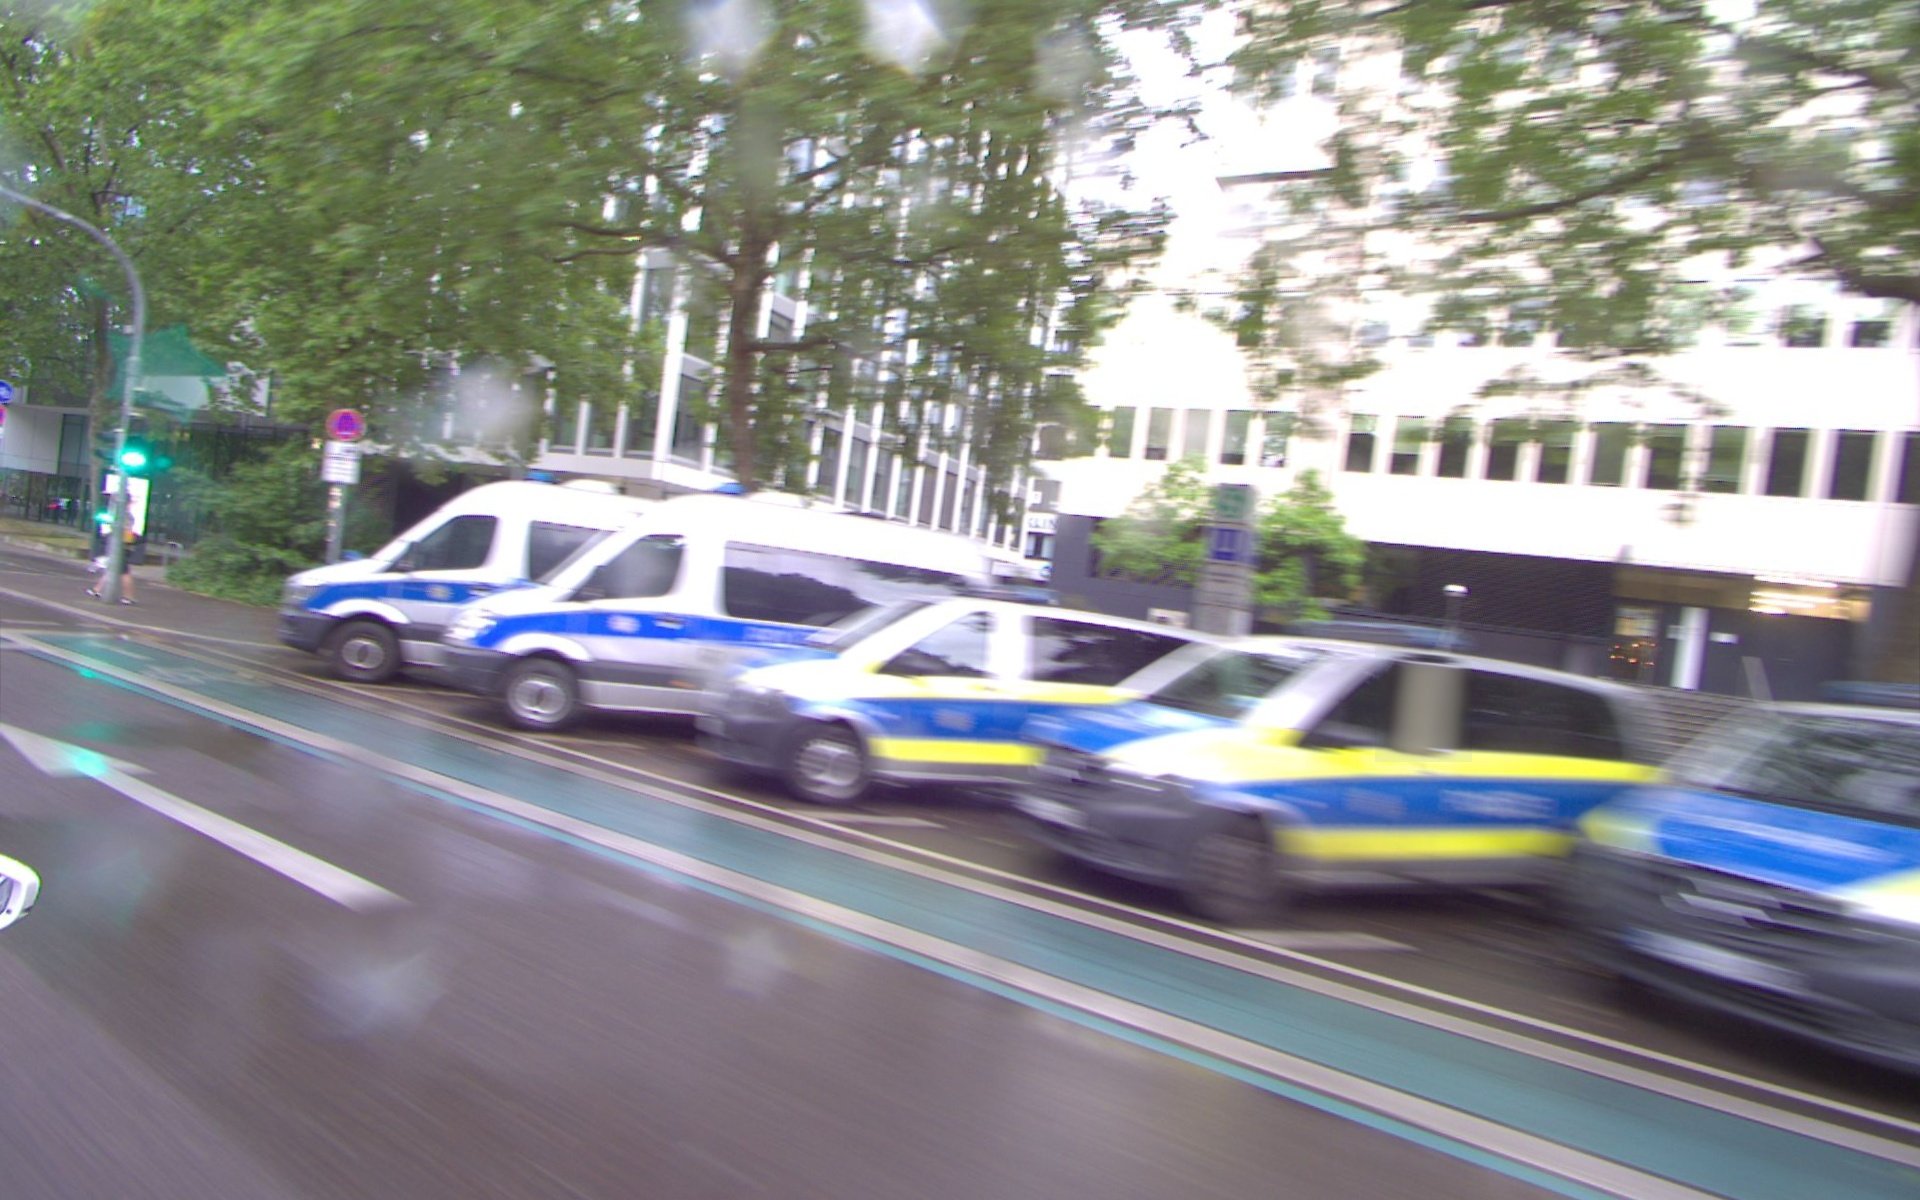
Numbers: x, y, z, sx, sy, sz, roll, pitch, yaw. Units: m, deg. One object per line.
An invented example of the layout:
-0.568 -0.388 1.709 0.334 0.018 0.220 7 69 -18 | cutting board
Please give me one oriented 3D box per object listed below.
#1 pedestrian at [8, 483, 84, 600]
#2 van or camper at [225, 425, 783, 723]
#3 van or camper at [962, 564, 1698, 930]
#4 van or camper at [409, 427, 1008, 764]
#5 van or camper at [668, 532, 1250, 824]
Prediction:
-15.342 -0.979 16.896 0.554 1.853 0.607 7 0 22 | pedestrian
-5.453 -0.174 12.849 5.738 2.709 2.137 8 -1 -22 | van or camper
2.850 1.151 7.572 5.145 2.015 1.989 9 -2 -25 | van or camper
-2.602 0.111 11.161 5.737 2.712 1.989 8 0 -24 | van or camper
0.018 0.792 9.483 4.952 2.037 1.990 8 -2 -23 | van or camper
